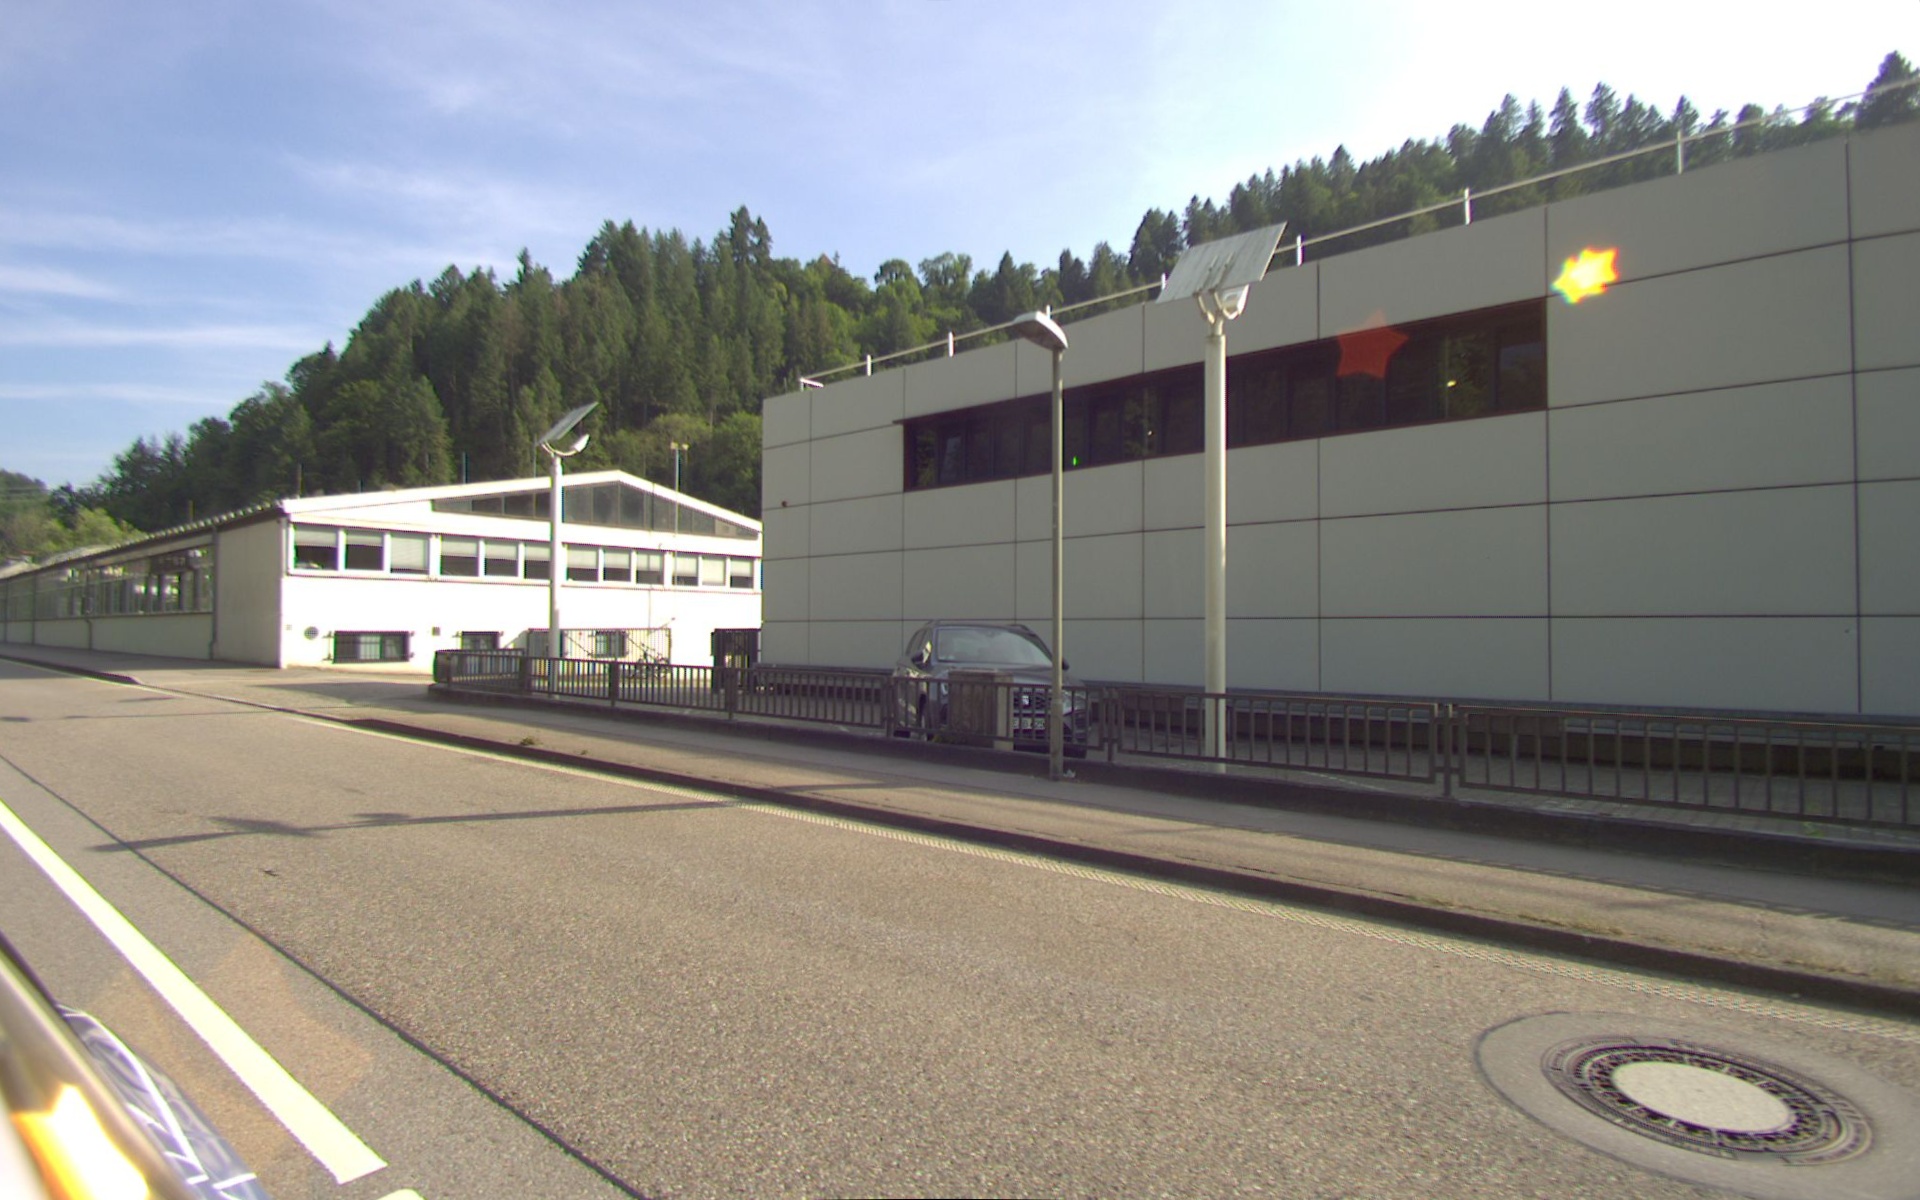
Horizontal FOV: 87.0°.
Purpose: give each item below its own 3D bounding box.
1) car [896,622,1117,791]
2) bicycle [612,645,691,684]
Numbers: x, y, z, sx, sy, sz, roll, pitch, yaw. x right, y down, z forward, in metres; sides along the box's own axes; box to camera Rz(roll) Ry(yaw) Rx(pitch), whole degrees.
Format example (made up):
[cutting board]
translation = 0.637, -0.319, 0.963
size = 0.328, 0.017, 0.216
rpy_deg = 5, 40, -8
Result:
[car]
translation = 0.325, 1.058, 11.858
size = 1.859, 1.604, 4.182
rpy_deg = 0, -1, -8
[bicycle]
translation = -10.541, 2.217, 34.715
size = 1.039, 1.270, 2.471
rpy_deg = -1, -4, 32
